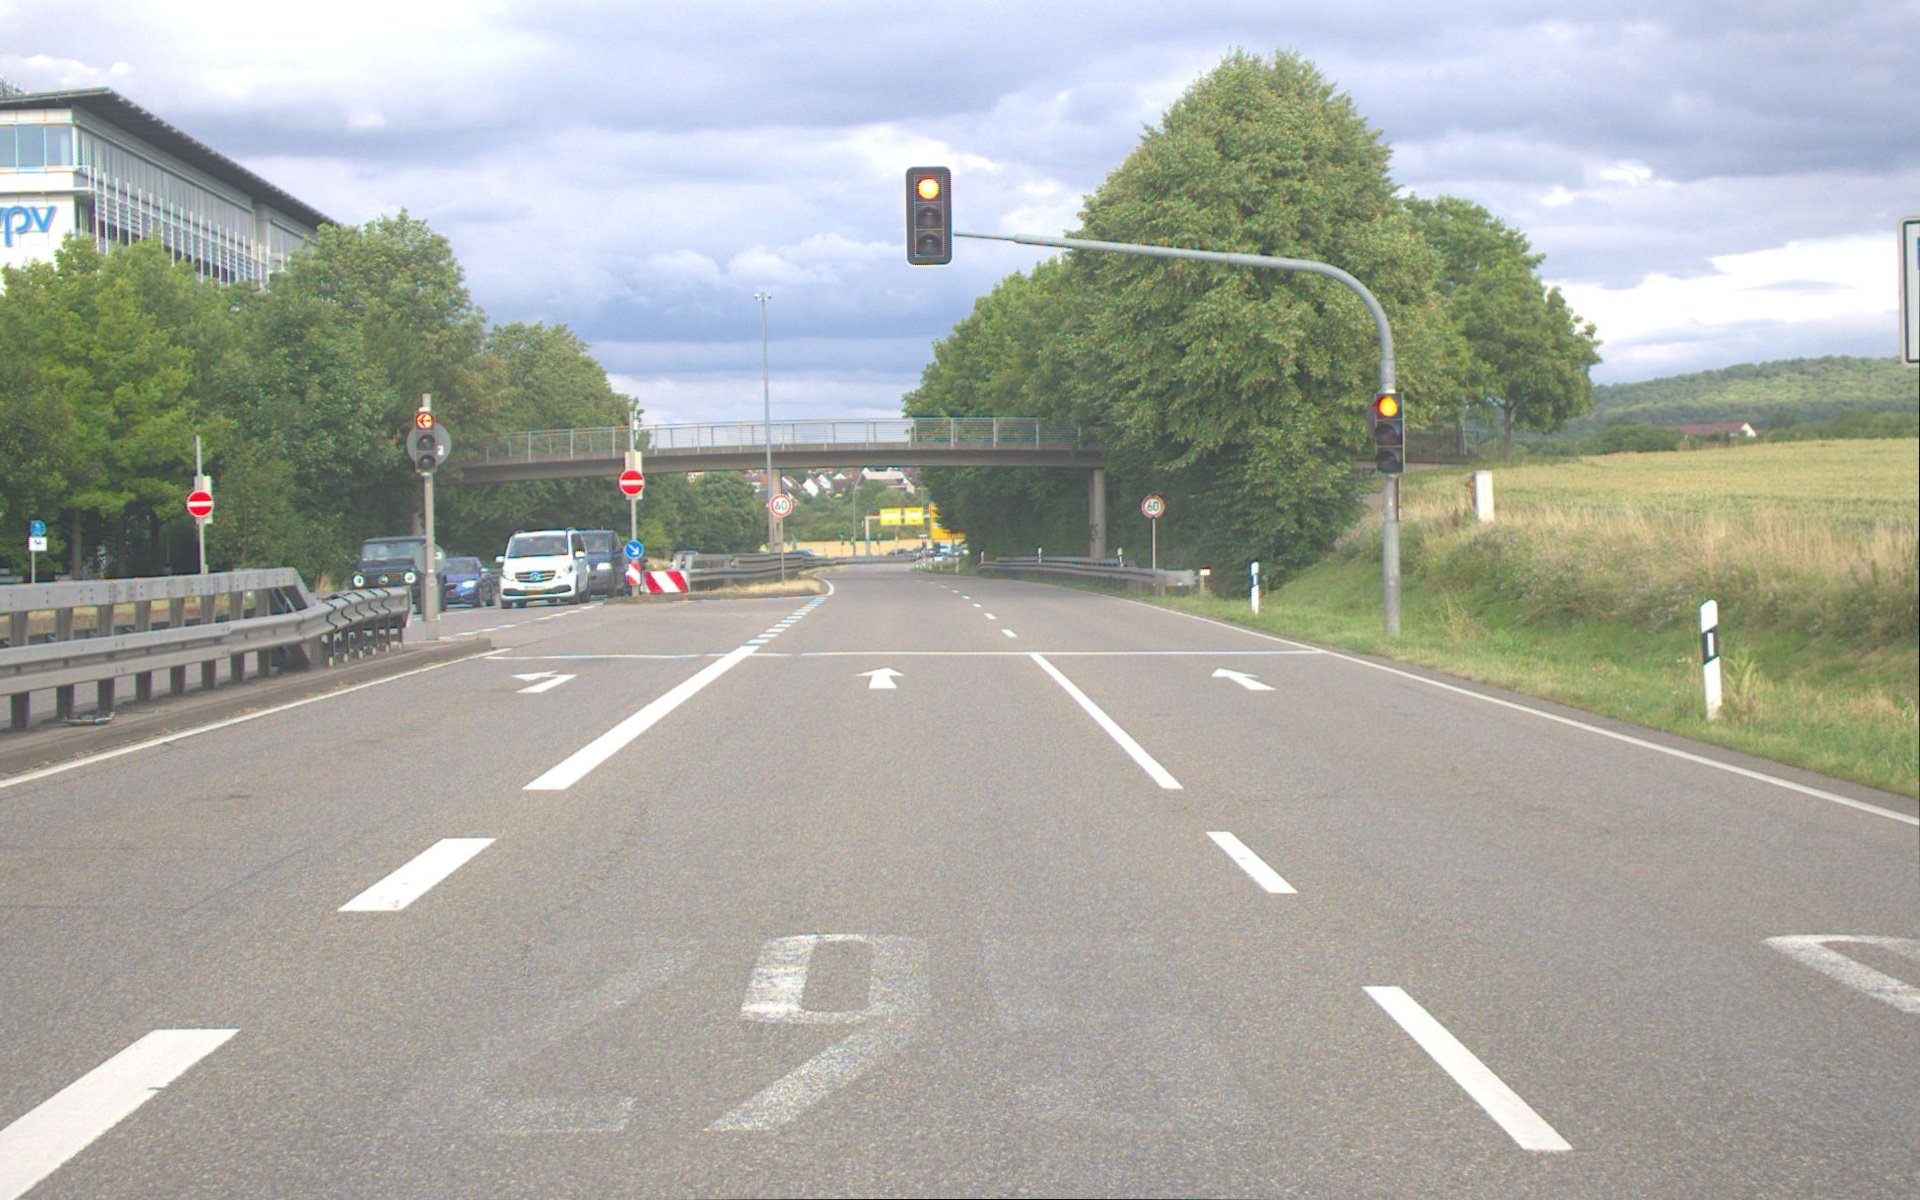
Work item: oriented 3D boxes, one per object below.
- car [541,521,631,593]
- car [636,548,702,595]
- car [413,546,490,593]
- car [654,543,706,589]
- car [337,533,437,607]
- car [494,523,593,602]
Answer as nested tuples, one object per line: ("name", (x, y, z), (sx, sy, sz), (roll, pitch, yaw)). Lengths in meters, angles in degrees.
("car", (-10.315, -1.214, 95.148), (1.993, 1.867, 4.737), (-1, 2, -1))
("car", (-7.156, -0.709, 84.590), (1.358, 1.088, 2.922), (-1, 2, 0))
("car", (-13.839, -0.842, 93.618), (1.613, 1.174, 3.457), (-1, 2, -1))
("car", (-7.916, -0.979, 97.190), (1.312, 1.225, 2.922), (-1, 2, -2))
("car", (-14.362, -0.771, 86.338), (1.868, 1.748, 4.049), (-1, 2, -1))
("car", (-10.454, -0.962, 86.562), (1.948, 1.867, 4.737), (-1, 2, -1))
